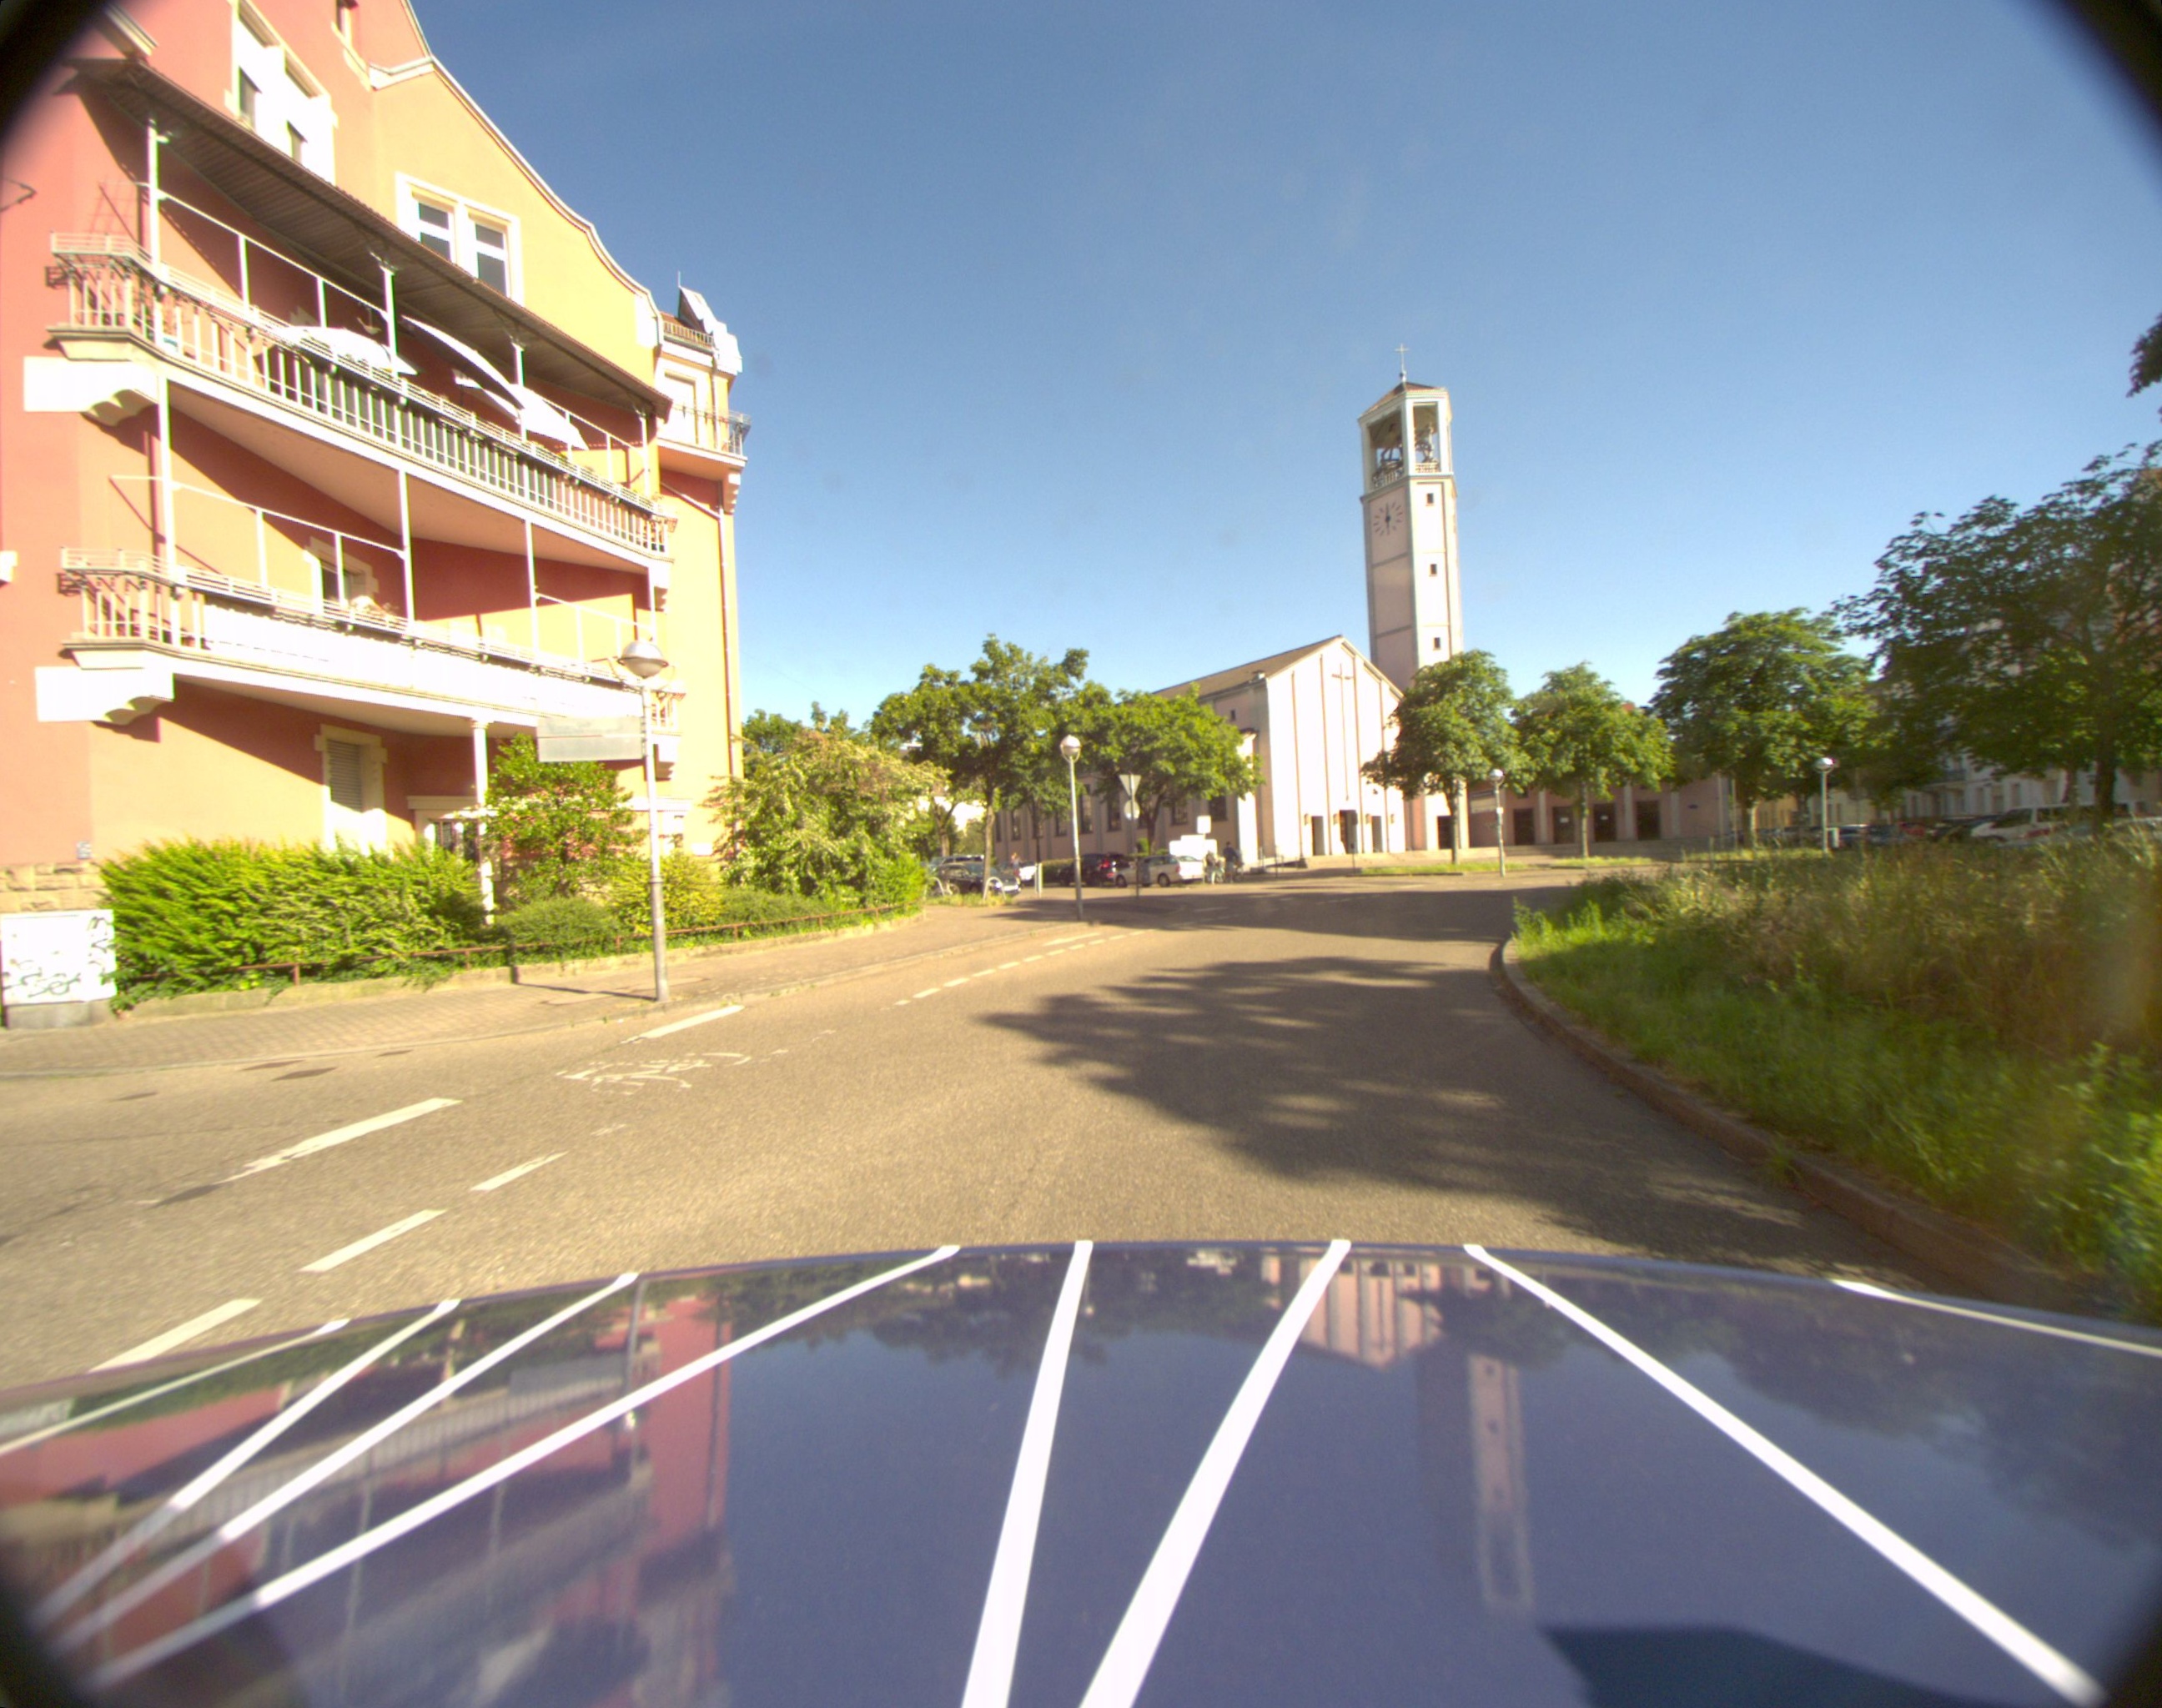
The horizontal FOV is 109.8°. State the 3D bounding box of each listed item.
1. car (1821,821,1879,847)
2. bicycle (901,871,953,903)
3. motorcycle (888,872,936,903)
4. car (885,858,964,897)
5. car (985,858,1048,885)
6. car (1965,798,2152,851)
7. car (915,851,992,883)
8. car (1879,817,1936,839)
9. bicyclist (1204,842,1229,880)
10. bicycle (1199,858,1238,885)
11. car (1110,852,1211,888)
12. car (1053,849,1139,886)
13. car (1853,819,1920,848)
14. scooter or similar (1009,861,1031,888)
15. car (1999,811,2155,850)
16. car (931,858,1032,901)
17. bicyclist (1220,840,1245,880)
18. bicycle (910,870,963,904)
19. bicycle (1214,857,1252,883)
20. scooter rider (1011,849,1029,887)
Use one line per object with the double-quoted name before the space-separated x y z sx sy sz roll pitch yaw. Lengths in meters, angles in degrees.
"car" 45.918 -1.174 45.455 1.610 1.414 3.620 -2 0 32
"bicycle" -5.501 1.176 27.225 1.730 1.108 0.545 0 -1 -35
"motorcycle" -6.337 1.248 28.574 1.730 1.100 0.499 0 -1 -42
"car" -7.298 1.049 35.037 1.812 1.553 4.388 -5 2 -36
"car" -3.821 1.030 44.416 1.813 1.465 4.328 -2 -1 -32
"car" 42.915 -1.238 33.513 1.996 2.033 4.696 -3 0 -25
"car" -8.495 0.861 50.778 4.789 1.989 1.805 -2 -1 -40
"car" 58.343 -1.827 53.710 1.757 1.447 3.963 -2 0 33
"bicyclist" 5.823 0.292 32.637 0.596 1.572 0.802 -4 1 -27
"bicycle" 5.878 0.747 32.587 0.596 1.101 1.859 -4 1 -27
"car" 3.437 0.723 33.420 1.813 1.407 4.327 -2 -1 -40
"car" 0.691 0.686 37.584 1.813 1.718 4.327 -2 -1 -40
"car" 43.751 -1.107 41.336 1.610 1.414 3.620 -2 0 32
"scooter or similar" -2.981 0.983 37.303 0.633 1.275 1.104 -3 0 -29
"car" 41.329 -0.957 31.624 1.671 1.427 3.688 -3 0 -27
"car" -4.033 1.000 30.294 1.812 1.475 4.327 -6 2 -41
"bicyclist" 6.667 0.272 33.446 0.647 1.704 0.721 -4 1 -29
"bicycle" -5.016 1.134 26.486 1.730 1.108 0.545 0 -1 -35
"bicycle" 6.685 0.693 33.467 0.647 1.101 1.713 -4 1 -29
"scooter rider" -2.992 0.667 37.303 0.626 1.821 0.630 -3 0 -29
